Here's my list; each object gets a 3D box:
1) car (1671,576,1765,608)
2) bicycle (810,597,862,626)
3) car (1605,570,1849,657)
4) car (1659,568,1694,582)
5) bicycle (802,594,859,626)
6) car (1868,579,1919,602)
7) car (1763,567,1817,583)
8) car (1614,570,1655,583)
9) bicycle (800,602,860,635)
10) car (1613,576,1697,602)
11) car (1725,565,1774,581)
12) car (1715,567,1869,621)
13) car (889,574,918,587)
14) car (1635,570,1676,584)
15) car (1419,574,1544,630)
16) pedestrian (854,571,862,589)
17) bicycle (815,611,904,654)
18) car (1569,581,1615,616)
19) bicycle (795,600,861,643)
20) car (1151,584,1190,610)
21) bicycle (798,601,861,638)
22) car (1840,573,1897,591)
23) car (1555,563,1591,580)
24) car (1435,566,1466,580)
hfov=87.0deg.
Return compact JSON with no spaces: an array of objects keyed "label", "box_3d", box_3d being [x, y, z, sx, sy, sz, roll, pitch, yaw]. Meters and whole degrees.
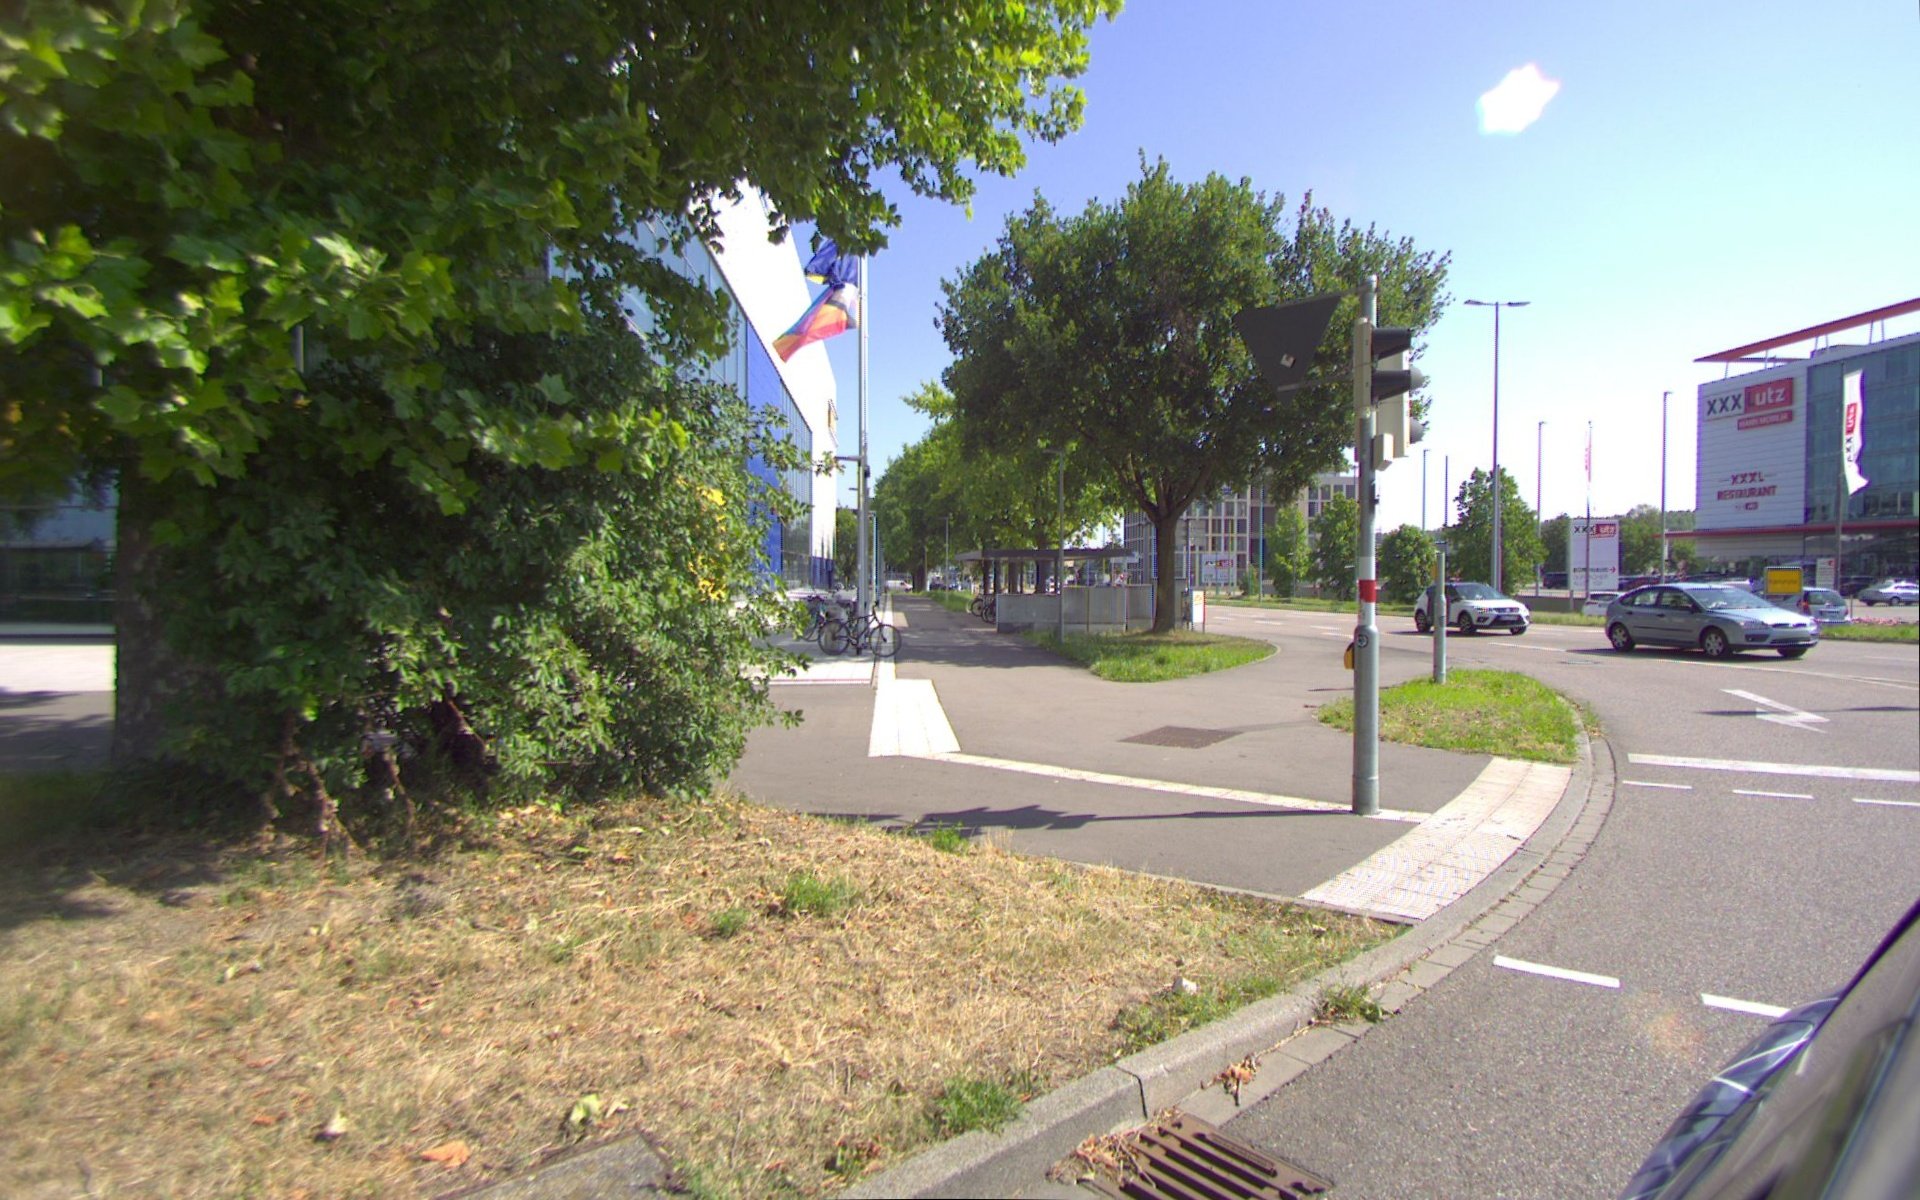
[{"label":"car","box_3d":[46.499,-0.527,62.156,4.341,1.865,1.947,0,2,-2]},{"label":"bicycle","box_3d":[-3.789,0.348,31.000,1.537,0.854,0.434,-1,1,0]},{"label":"car","box_3d":[15.629,0.212,20.951,1.678,1.593,4.178,-1,1,-4]},{"label":"car","box_3d":[74.307,-2.606,104.961,2.768,1.346,1.298,-1,2,-3]},{"label":"bicycle","box_3d":[-3.647,0.282,28.531,1.537,0.854,0.434,-1,1,0]},{"label":"car","box_3d":[60.881,-0.608,64.645,4.415,1.346,1.517,-1,2,-3]},{"label":"car","box_3d":[70.030,-2.122,85.412,3.441,1.213,1.482,-1,2,-3]},{"label":"car","box_3d":[69.650,-2.439,104.522,3.161,1.346,1.517,-1,2,-3]},{"label":"bicycle","box_3d":[-3.500,0.498,27.311,1.537,0.854,0.434,-1,1,0]},{"label":"car","box_3d":[46.269,-0.751,67.449,4.339,1.647,1.874,0,2,-4]},{"label":"car","box_3d":[70.395,-2.451,90.308,3.037,1.346,1.706,-1,2,-3]},{"label":"car","box_3d":[26.665,-0.184,32.614,1.601,1.645,3.918,-1,0,-2]},{"label":"car","box_3d":[-9.595,-3.304,171.807,4.902,2.032,1.743,0,2,-3]},{"label":"car","box_3d":[70.122,-2.330,102.036,3.161,1.346,1.517,-1,2,-3]},{"label":"car","box_3d":[15.469,0.074,30.269,1.605,1.517,3.870,-1,-1,-1]},{"label":"pedestrian","box_3d":[-9.075,-1.793,89.852,0.676,1.632,0.772,0,0,-5]},{"label":"bicycle","box_3d":[-2.081,0.666,21.039,1.800,0.854,0.434,-1,1,0]},{"label":"car","box_3d":[31.016,-0.086,49.745,1.784,1.566,4.044,0,2,30]},{"label":"bicycle","box_3d":[-3.225,0.524,24.759,1.537,1.007,0.434,-1,1,0]},{"label":"car","box_3d":[16.196,-0.254,78.031,1.987,1.860,4.315,-1,2,-2]},{"label":"bicycle","box_3d":[-3.343,0.491,25.955,1.537,0.921,0.434,-1,1,0]},{"label":"car","box_3d":[69.862,-1.366,77.858,3.037,1.309,1.517,-1,2,-2]},{"label":"car","box_3d":[68.976,-3.234,113.894,3.037,1.779,1.694,-1,2,-3]},{"label":"car","box_3d":[57.862,-3.190,119.325,2.721,1.576,1.775,0,1,-3]}]
